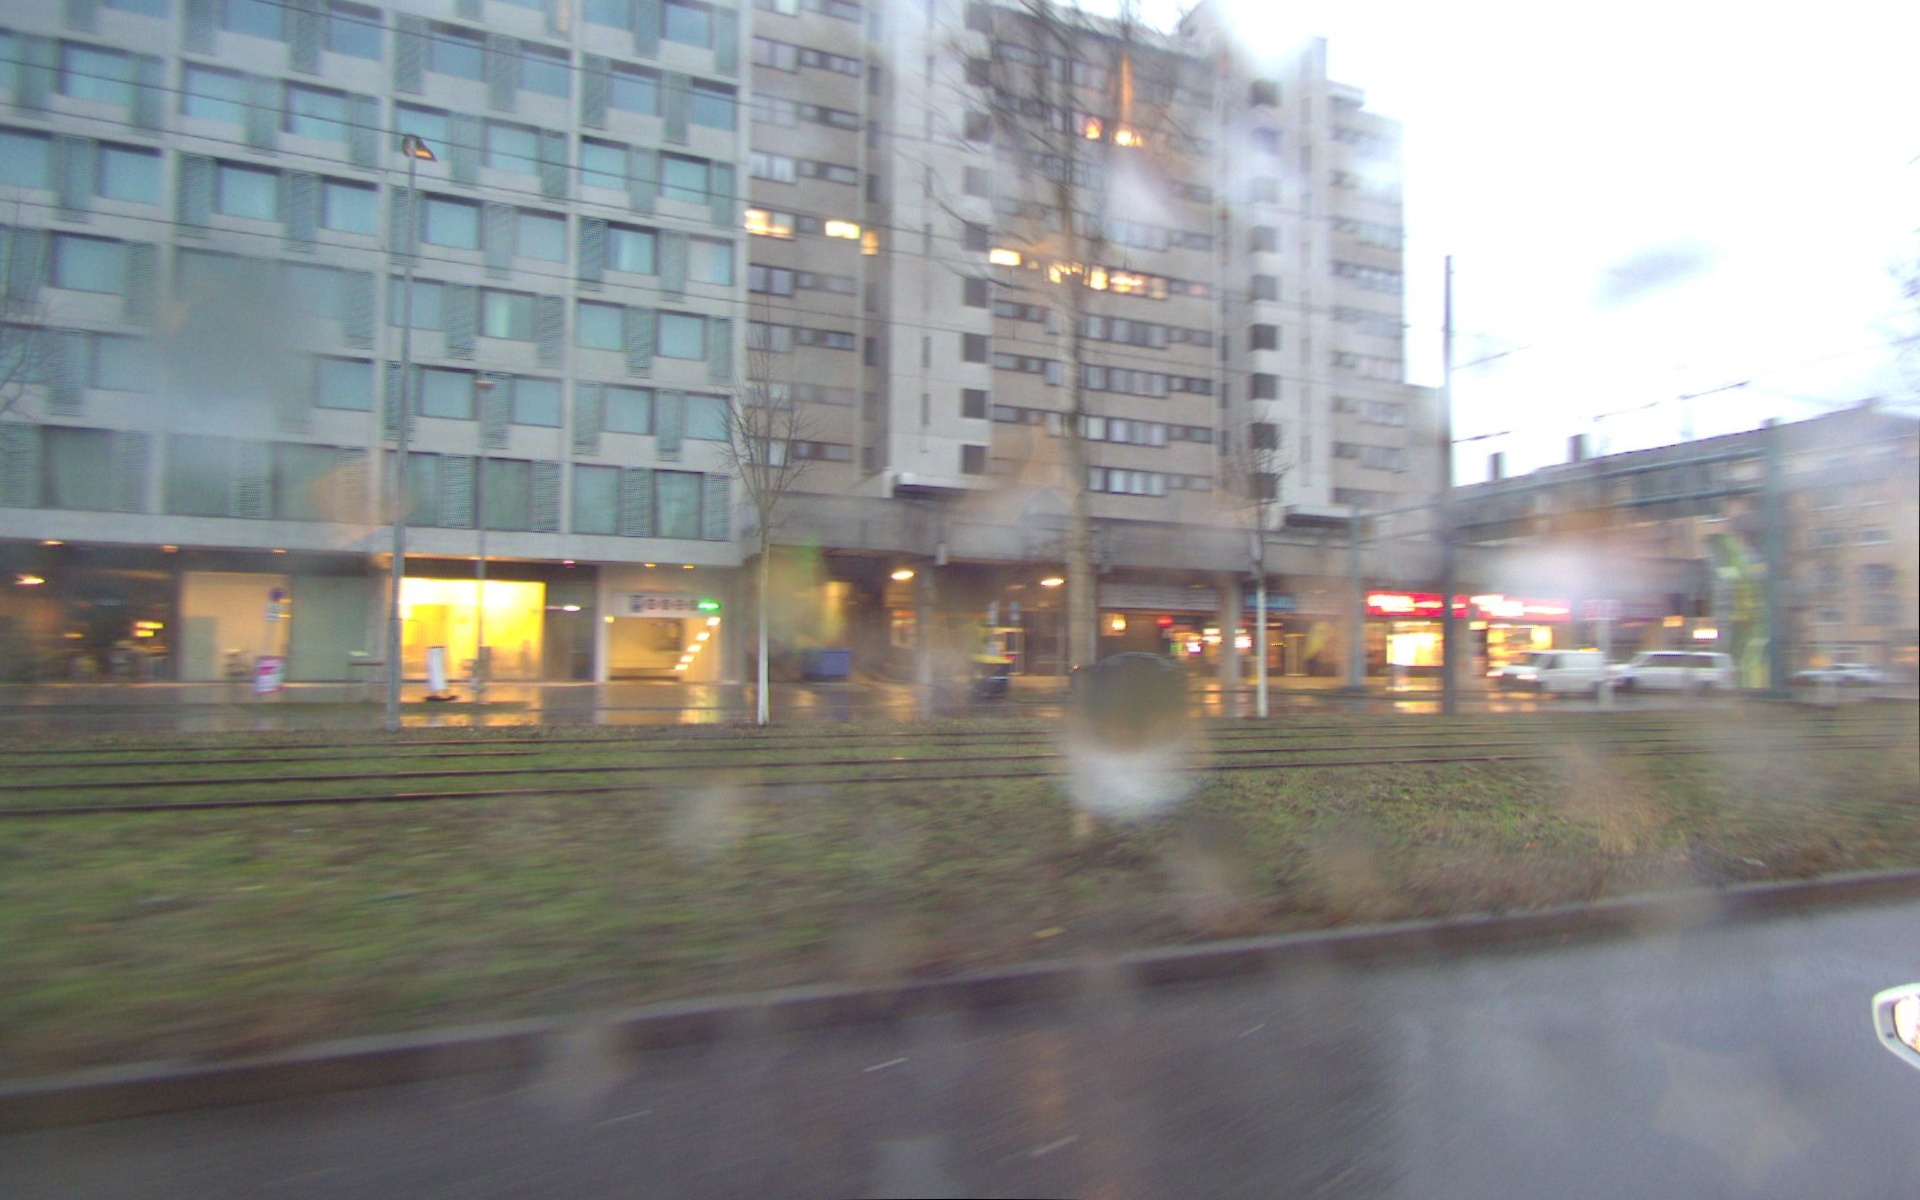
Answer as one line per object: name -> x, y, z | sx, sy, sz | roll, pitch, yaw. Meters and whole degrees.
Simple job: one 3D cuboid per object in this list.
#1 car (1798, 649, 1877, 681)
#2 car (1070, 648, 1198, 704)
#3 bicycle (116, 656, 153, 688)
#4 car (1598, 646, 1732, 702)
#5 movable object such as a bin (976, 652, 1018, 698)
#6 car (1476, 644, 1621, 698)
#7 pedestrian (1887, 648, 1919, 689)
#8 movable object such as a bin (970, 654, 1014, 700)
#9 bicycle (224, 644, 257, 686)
car -> 60.546, 4.468, 69.360 | 1.820, 1.968, 3.733 | 2, -1, -28
car -> 6.228, 2.677, 36.104 | 4.076, 1.715, 1.977 | 1, -1, 38
bicycle -> -24.994, 2.173, 30.436 | 0.459, 0.865, 1.343 | 2, -1, -22
car -> 32.509, 3.364, 46.484 | 4.740, 2.273, 1.999 | 2, -1, 24
movable object such as a bin -> 1.295, 2.604, 35.034 | 1.001, 1.520, 1.043 | 2, -1, -32
car -> 24.619, 2.966, 42.032 | 5.475, 2.073, 1.993 | 2, -1, -16
pedestrian -> 48.985, 3.541, 52.102 | 1.001, 2.040, 1.257 | 3, -3, -44
movable object such as a bin -> 1.055, 2.572, 33.600 | 1.020, 1.445, 1.064 | 2, -1, -32
bicycle -> -22.792, 2.039, 31.829 | 0.459, 1.254, 1.532 | 2, -1, -22
